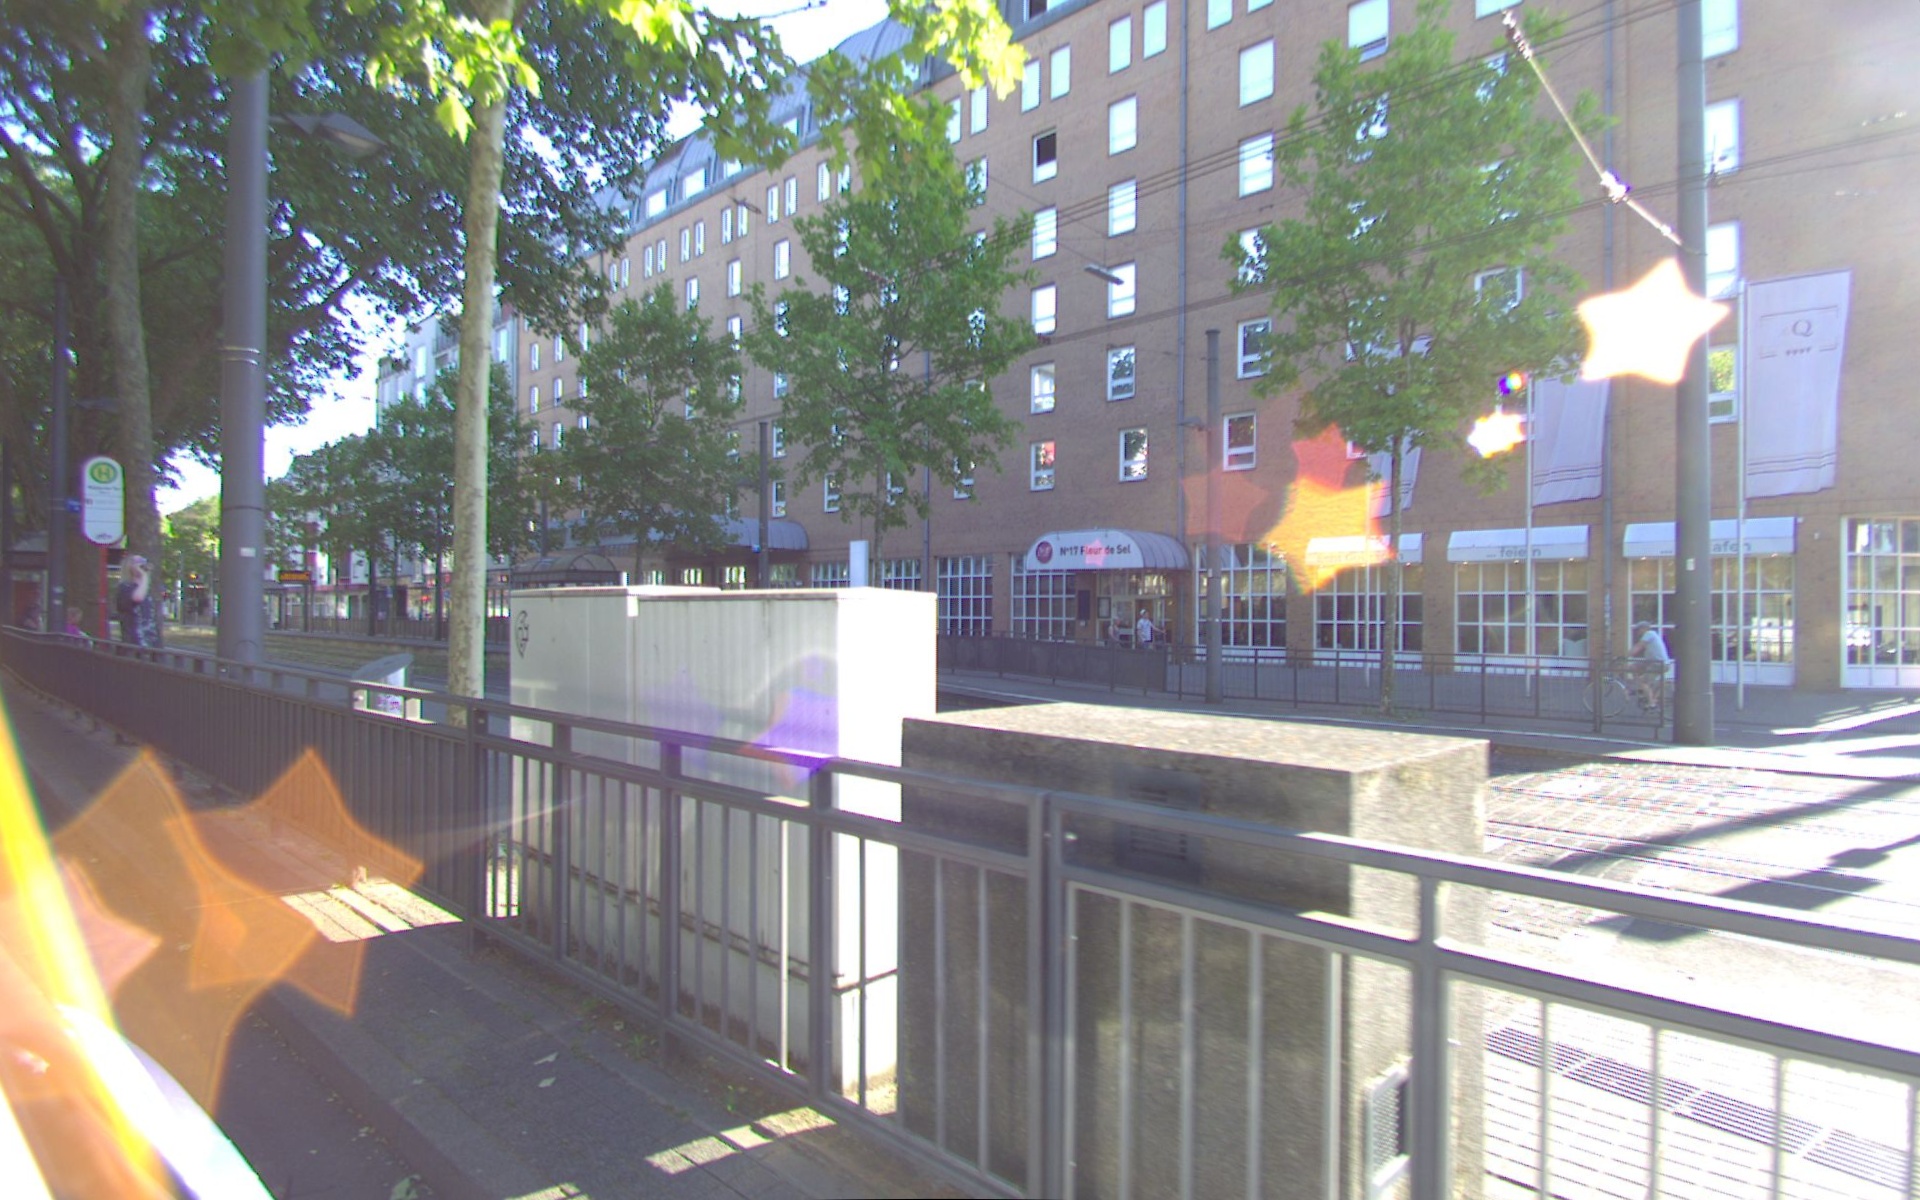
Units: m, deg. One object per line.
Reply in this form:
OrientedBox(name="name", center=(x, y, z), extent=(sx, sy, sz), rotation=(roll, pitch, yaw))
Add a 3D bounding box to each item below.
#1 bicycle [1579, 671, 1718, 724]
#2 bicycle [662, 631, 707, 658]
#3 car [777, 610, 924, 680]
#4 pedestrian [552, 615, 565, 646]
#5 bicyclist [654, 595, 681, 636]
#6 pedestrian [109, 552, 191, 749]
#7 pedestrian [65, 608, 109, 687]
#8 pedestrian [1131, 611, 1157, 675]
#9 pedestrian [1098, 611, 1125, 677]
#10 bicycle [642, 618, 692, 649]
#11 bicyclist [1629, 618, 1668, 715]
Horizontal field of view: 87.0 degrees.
OrientedBox(name="bicycle", center=(11.970, 1.678, 17.638), extent=(1.966, 0.777, 0.584), rotation=(-1, -2, 39))
OrientedBox(name="bicycle", center=(-11.005, 1.769, 40.402), extent=(1.897, 1.006, 0.647), rotation=(0, -2, 35))
OrientedBox(name="car", center=(-3.125, 1.193, 28.396), extent=(3.996, 1.776, 1.849), rotation=(0, 0, 40))
OrientedBox(name="pedestrian", center=(-22.803, 1.740, 57.503), extent=(0.574, 1.748, 0.497), rotation=(-1, -2, 43))
OrientedBox(name="bicyclist", center=(-11.478, 0.624, 39.755), extent=(0.756, 1.572, 0.676), rotation=(-3, -3, 34))
OrientedBox(name="pedestrian", center=(-7.875, 0.468, 9.839), extent=(0.524, 1.848, 0.536), rotation=(0, 1, 43))
OrientedBox(name="pedestrian", center=(-15.225, 0.813, 17.668), extent=(0.534, 1.327, 0.525), rotation=(-1, 0, -37))
OrientedBox(name="pedestrian", center=(5.124, 1.188, 28.175), extent=(0.437, 1.748, 0.545), rotation=(2, -2, -41))
OrientedBox(name="pedestrian", center=(4.109, 1.189, 27.434), extent=(0.472, 1.748, 0.545), rotation=(2, -2, -41))
OrientedBox(name="bicycle", center=(-11.518, 1.335, 39.759), extent=(2.105, 1.151, 0.679), rotation=(-3, -3, 35))
OrientedBox(name="bicyclist", center=(11.993, 1.138, 17.625), extent=(0.514, 1.638, 0.581), rotation=(-1, -2, 38))
